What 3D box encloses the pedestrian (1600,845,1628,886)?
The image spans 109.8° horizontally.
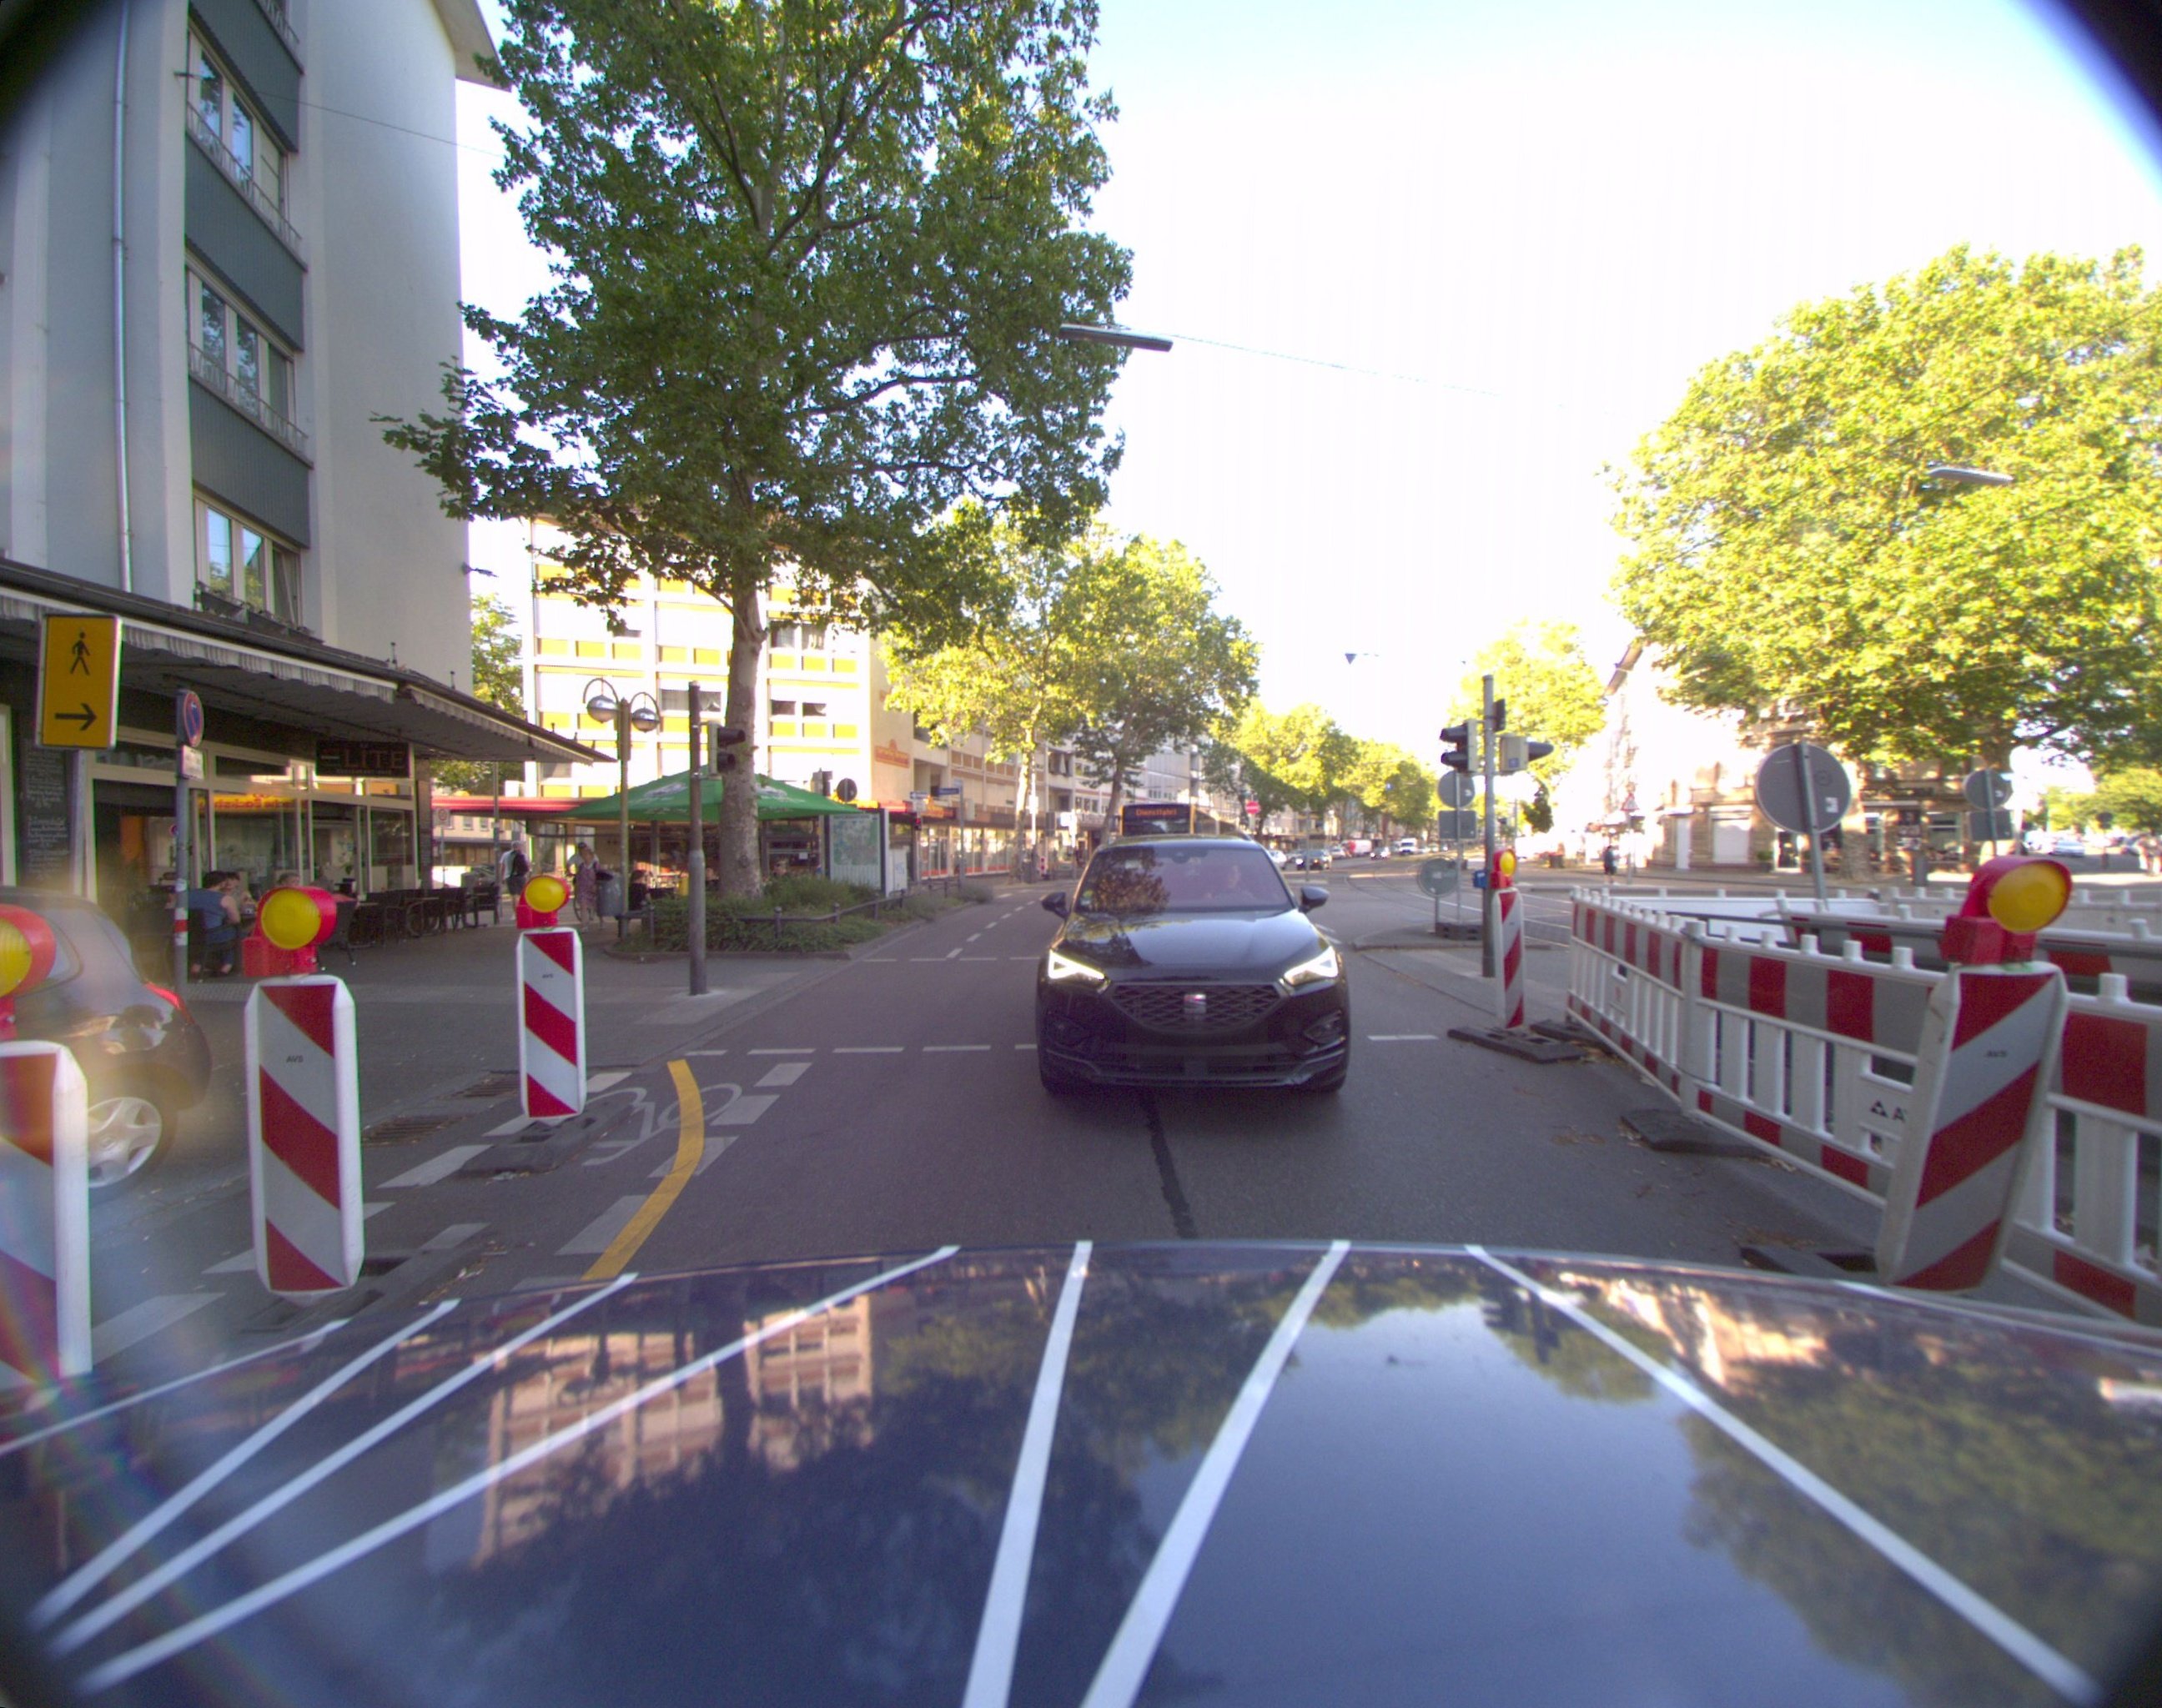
[{"bbox_3d":[20.339,0.440,29.001,0.603,1.524,0.745,0,1,12],"label":"pedestrian"}]

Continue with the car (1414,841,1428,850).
[{"bbox_3d":[57.500,-1.424,128.589,1.700,1.462,3.771,0,1,31],"label":"car"}]

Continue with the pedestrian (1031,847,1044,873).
[{"bbox_3d":[-2.676,0.366,46.515,0.627,1.577,0.532,0,1,20],"label":"pedestrian"}]

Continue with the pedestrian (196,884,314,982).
[{"bbox_3d":[-10.744,1.003,9.908,0.647,1.186,0.792,0,1,7],"label":"pedestrian"}]

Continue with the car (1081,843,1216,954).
[{"bbox_3d":[1.033,0.637,13.324,1.998,1.634,4.075,0,1,1],"label":"car"}]

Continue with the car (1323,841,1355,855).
[{"bbox_3d":[36.557,-0.851,107.934,3.994,2.002,2.001,0,1,8],"label":"car"}]

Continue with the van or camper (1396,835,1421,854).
[{"bbox_3d":[48.639,-1.369,112.700,2.420,2.702,6.144,0,1,32],"label":"van or camper"}]

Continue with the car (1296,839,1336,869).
[{"bbox_3d":[16.618,-0.013,53.577,1.995,2.002,4.007,0,1,27],"label":"car"}]

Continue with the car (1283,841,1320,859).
[{"bbox_3d":[24.797,-0.418,85.359,3.991,2.002,2.003,0,1,18],"label":"car"}]

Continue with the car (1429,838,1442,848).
[{"bbox_3d":[66.797,-2.040,143.103,1.836,1.792,4.138,0,1,31],"label":"car"}]

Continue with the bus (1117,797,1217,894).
[{"bbox_3d":[3.518,-0.298,28.653,2.718,3.088,8.629,0,1,13],"label":"bus"}]

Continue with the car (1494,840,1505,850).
[{"bbox_3d":[89.490,-1.974,162.436,1.994,2.002,4.007,0,1,29],"label":"car"}]

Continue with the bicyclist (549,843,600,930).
[{"bbox_3d":[-10.957,0.683,16.463,0.754,1.816,0.924,-1,1,-26],"label":"bicyclist"}]

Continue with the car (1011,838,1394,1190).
[{"bbox_3d":[0.619,0.758,5.673,1.841,1.696,4.000,0,1,1],"label":"car"}]

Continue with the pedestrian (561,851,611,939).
[{"bbox_3d":[-9.366,0.757,14.393,0.629,1.628,0.531,-1,1,-15],"label":"pedestrian"}]

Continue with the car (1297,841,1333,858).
[{"bbox_3d":[28.577,-0.520,92.981,3.994,2.002,2.001,0,1,8],"label":"car"}]

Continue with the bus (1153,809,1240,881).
[{"bbox_3d":[5.850,-0.442,37.099,2.717,3.088,8.608,0,1,19],"label":"bus"}]

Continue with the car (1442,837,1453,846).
[{"bbox_3d":[79.183,-2.679,164.028,1.836,1.792,4.138,0,1,31],"label":"car"}]

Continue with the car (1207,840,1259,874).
[{"bbox_3d":[9.322,0.160,46.331,1.995,2.002,4.105,0,1,29],"label":"car"}]

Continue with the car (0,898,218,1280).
[{"bbox_3d":[-5.210,0.973,2.011,1.771,1.459,3.610,2,1,-2],"label":"car"}]

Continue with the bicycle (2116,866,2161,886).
[{"bbox_3d":[44.787,0.911,32.175,1.993,0.777,0.680,-1,1,-23],"label":"bicycle"}]

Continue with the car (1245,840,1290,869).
[{"bbox_3d":[13.655,0.012,55.458,1.994,2.002,4.008,0,1,33],"label":"car"}]

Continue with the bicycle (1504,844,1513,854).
[{"bbox_3d":[53.516,-0.599,95.165,0.850,1.186,2.470,0,1,26],"label":"bicycle"}]

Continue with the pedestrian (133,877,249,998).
[{"bbox_3d":[-10.356,0.935,8.847,0.789,1.299,0.701,0,1,28],"label":"pedestrian"}]

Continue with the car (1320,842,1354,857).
[{"bbox_3d":[34.882,-0.626,103.583,3.994,2.002,2.001,0,1,8],"label":"car"}]

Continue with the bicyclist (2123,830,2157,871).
[{"bbox_3d":[44.887,-0.154,32.206,0.766,1.718,0.672,-1,1,-23],"label":"bicyclist"}]

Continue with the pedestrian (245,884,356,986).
[{"bbox_3d":[-9.907,0.993,9.656,0.877,1.186,0.701,0,1,24],"label":"pedestrian"}]

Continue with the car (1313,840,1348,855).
[{"bbox_3d":[32.417,-0.853,98.813,3.994,2.002,2.001,0,1,8],"label":"car"}]

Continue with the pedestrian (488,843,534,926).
[{"bbox_3d":[-13.735,0.705,18.327,0.649,1.948,0.888,-1,1,-23],"label":"pedestrian"}]

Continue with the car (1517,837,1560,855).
[{"bbox_3d":[52.523,-0.940,87.204,4.001,2.002,1.997,-1,1,-13],"label":"car"}]

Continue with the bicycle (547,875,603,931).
[{"bbox_3d":[-11.055,1.028,16.662,0.753,1.123,1.882,-2,0,-26],"label":"bicycle"}]

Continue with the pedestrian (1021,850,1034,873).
[{"bbox_3d":[-3.299,0.467,46.791,0.627,1.429,0.532,0,1,20],"label":"pedestrian"}]
